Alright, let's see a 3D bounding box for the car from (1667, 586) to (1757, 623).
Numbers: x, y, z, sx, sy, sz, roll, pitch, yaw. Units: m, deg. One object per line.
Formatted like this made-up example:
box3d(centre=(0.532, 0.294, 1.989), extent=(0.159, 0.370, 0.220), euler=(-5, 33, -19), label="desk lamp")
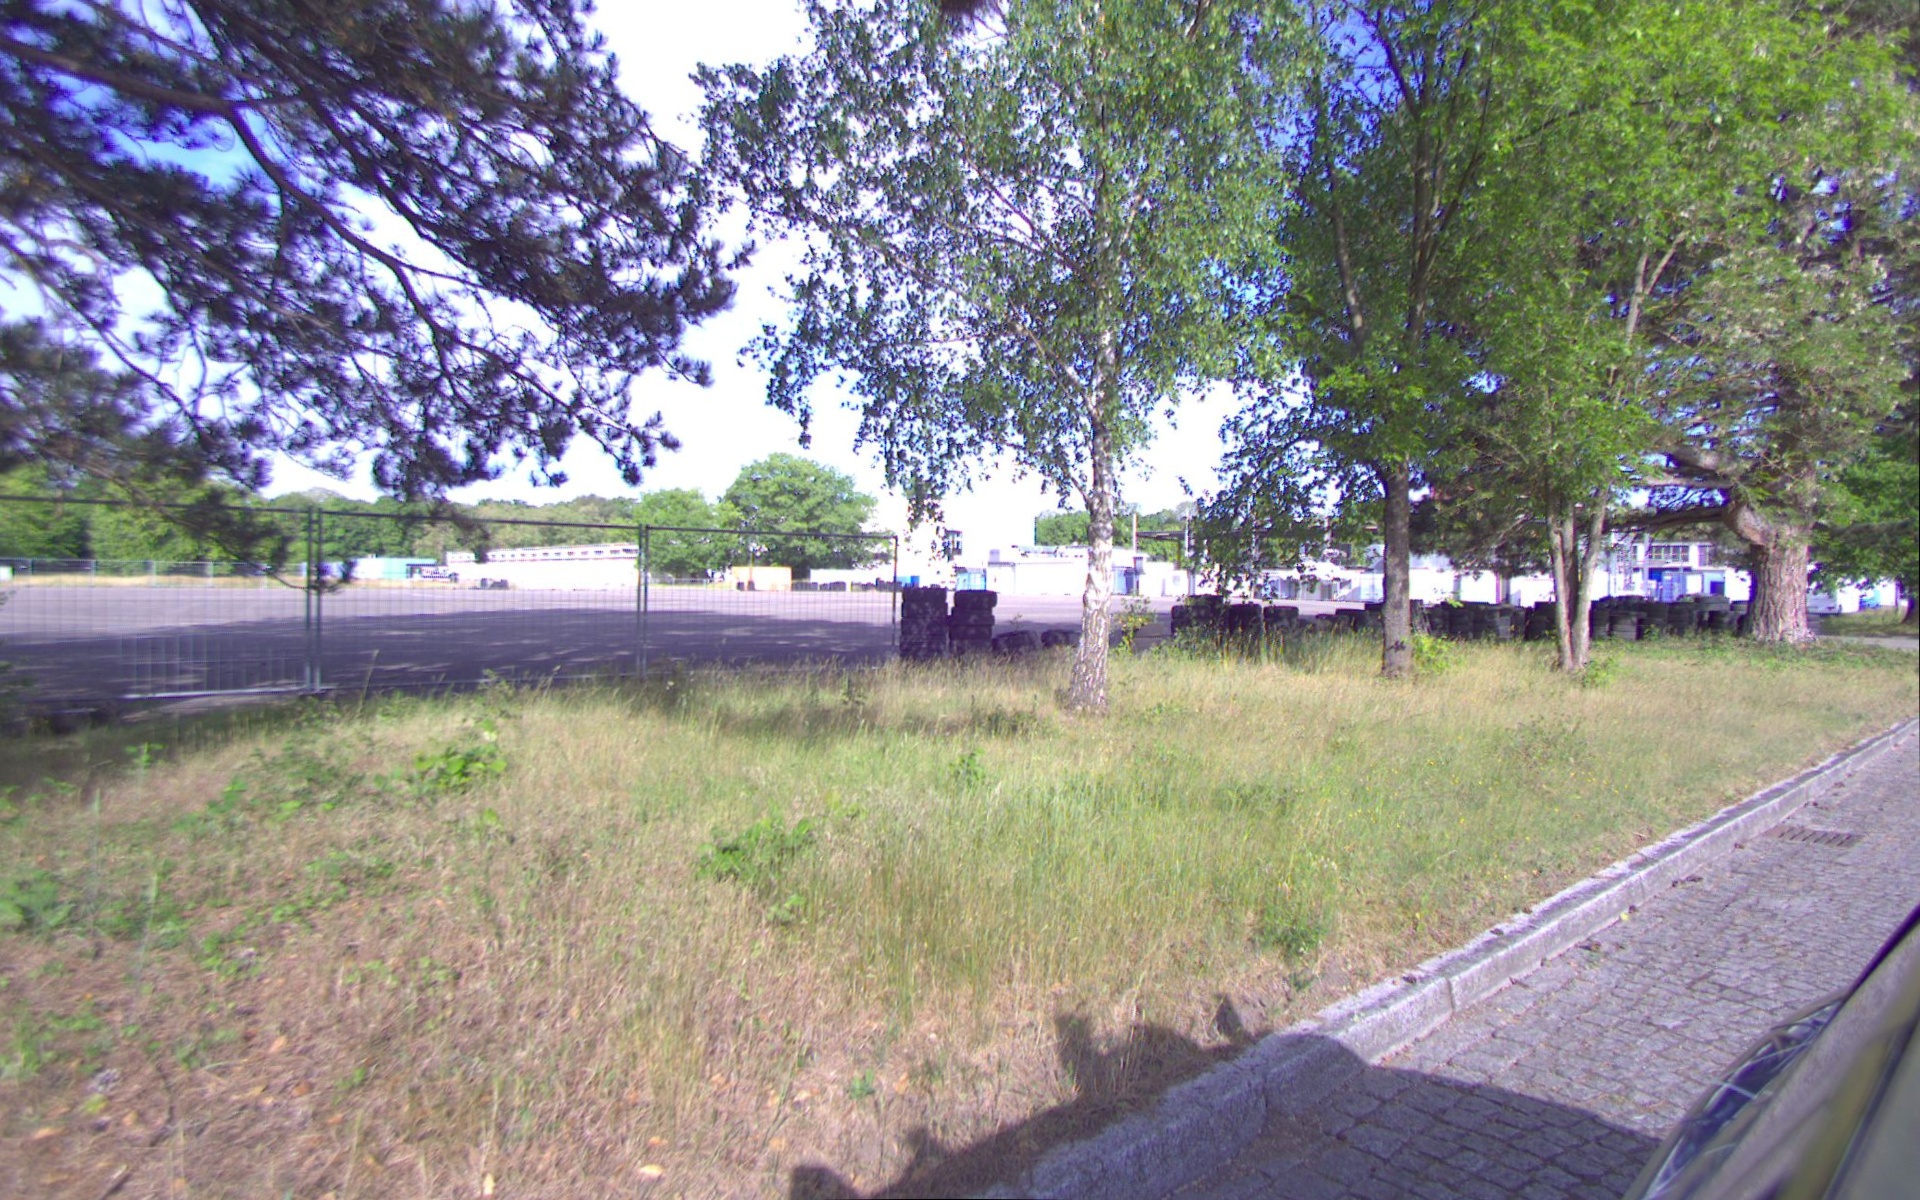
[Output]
box3d(centre=(31.683, 0.174, 42.628), extent=(3.923, 1.467, 1.849), euler=(0, 2, -34), label="car")
